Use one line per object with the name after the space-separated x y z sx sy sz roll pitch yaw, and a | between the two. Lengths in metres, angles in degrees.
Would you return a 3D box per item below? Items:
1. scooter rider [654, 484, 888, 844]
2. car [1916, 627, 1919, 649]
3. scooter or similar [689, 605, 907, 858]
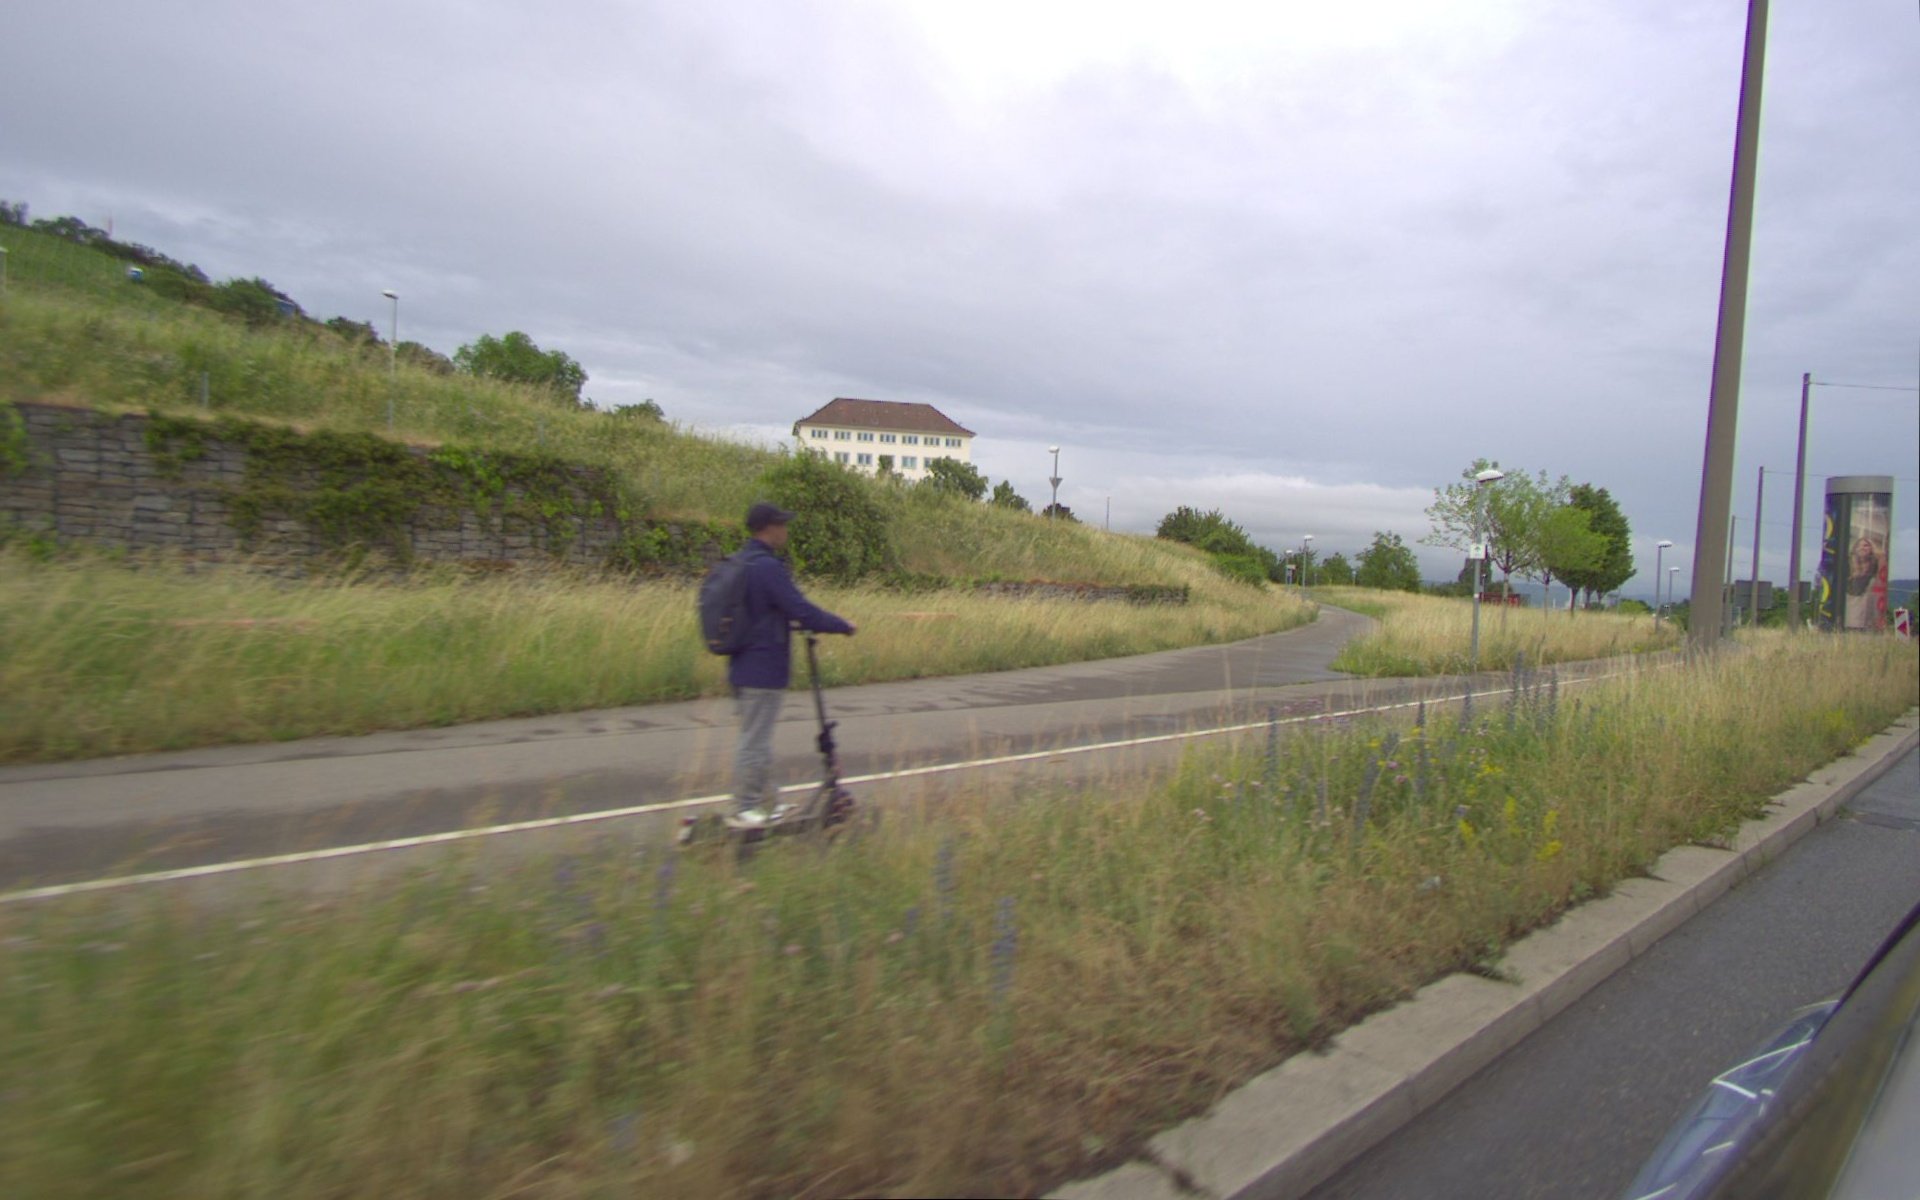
-0.977 0.278 5.205 0.814 1.648 0.807 2 2 -41 | scooter rider
75.402 2.936 77.659 1.984 1.663 4.576 1 -2 31 | car
-0.838 0.639 5.387 1.094 1.212 0.402 1 -1 -41 | scooter or similar
